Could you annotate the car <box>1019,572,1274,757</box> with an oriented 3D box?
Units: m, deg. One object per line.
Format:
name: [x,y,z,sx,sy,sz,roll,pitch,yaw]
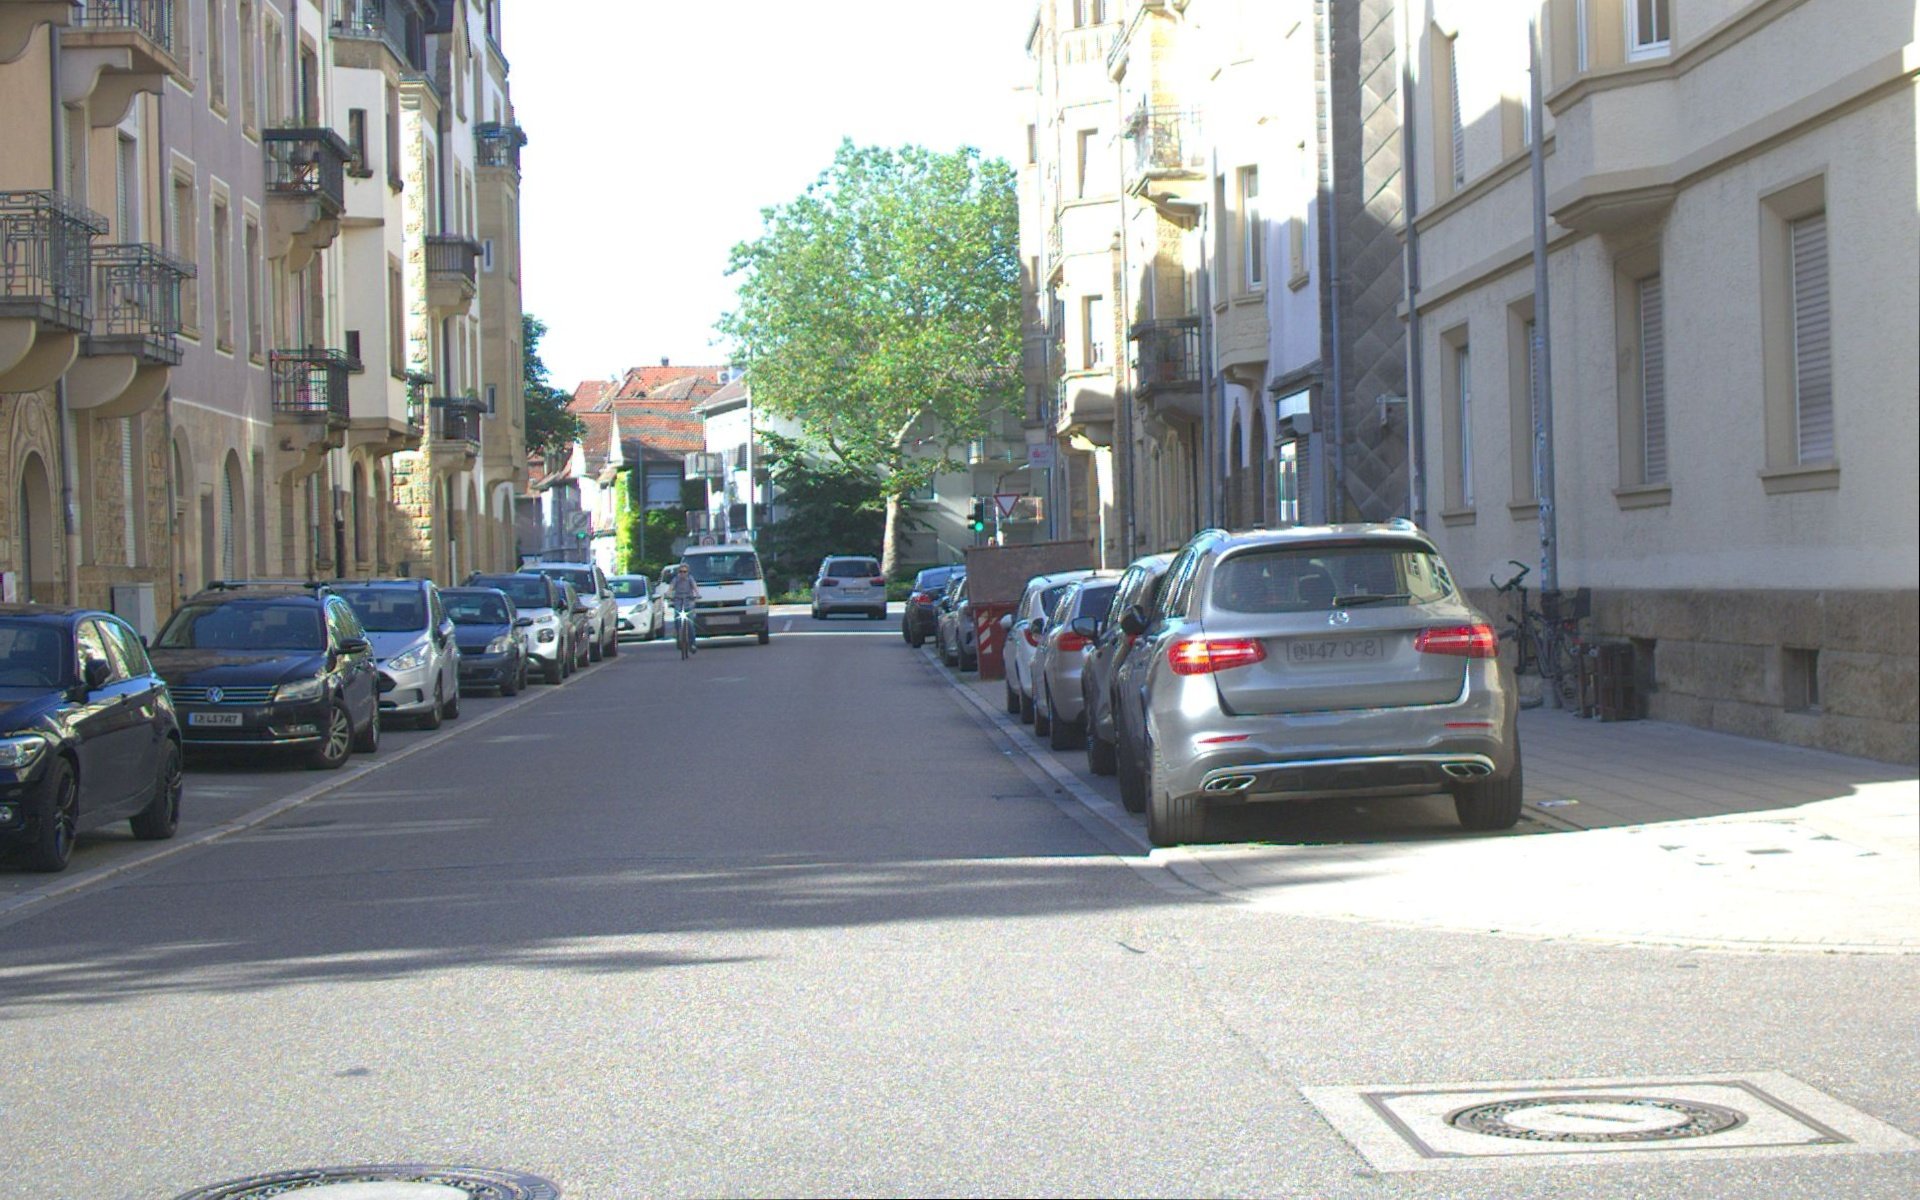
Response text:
car: [1.553,0.558,30.017,1.838,1.427,4.029,-3,-1,-2]

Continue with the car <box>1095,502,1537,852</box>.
car: [1.849,0.417,19.334,1.913,1.639,4.773,-3,-1,0]

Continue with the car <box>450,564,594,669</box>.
car: [-7.130,0.270,56.375,2.003,1.613,4.488,1,0,-3]

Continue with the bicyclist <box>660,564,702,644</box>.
bicyclist: [-4.946,0.073,61.006,0.662,1.381,0.754,-3,0,-3]

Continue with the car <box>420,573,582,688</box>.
car: [-6.741,0.441,50.879,2.003,1.613,4.488,1,0,-3]

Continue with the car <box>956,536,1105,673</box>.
car: [0.947,0.103,48.198,1.838,1.781,4.029,-2,-1,-2]

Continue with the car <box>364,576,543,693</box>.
car: [-6.776,0.458,46.358,1.978,1.477,4.328,1,0,-3]

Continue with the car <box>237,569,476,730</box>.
car: [-6.465,0.511,37.276,2.003,1.613,4.488,1,0,-3]

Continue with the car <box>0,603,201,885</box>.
car: [-5.609,0.726,19.492,1.679,1.422,4.274,1,0,-1]

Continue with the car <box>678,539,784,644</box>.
car: [-4.528,-0.153,68.303,2.003,1.993,4.488,1,0,-3]

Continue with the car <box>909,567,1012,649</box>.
car: [-0.024,0.183,67.006,1.838,1.427,4.029,-3,-1,-2]

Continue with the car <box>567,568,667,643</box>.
car: [-7.638,0.136,76.871,2.003,1.600,4.488,1,0,-3]

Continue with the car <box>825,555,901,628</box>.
car: [-2.670,-0.226,93.717,2.003,1.907,4.487,1,0,-2]

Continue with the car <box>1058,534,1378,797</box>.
car: [1.706,0.448,23.954,1.745,1.602,4.029,-3,-1,-2]

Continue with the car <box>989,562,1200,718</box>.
car: [1.323,0.420,35.406,1.838,1.427,4.029,-3,-1,-2]

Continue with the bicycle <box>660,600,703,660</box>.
bicycle: [-4.935,0.531,60.988,0.662,1.015,2.066,-3,0,-3]

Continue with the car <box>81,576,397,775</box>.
car: [-6.161,0.617,29.863,2.003,1.577,4.488,1,0,-3]

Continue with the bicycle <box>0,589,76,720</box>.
bicycle: [-9.516,0.539,35.072,0.541,1.297,1.867,0,0,-1]

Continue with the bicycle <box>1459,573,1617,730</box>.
bicycle: [4.816,0.401,28.807,0.761,1.242,2.592,-1,1,-2]

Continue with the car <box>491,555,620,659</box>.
car: [-7.234,0.134,61.876,2.003,1.782,4.488,1,0,-3]
